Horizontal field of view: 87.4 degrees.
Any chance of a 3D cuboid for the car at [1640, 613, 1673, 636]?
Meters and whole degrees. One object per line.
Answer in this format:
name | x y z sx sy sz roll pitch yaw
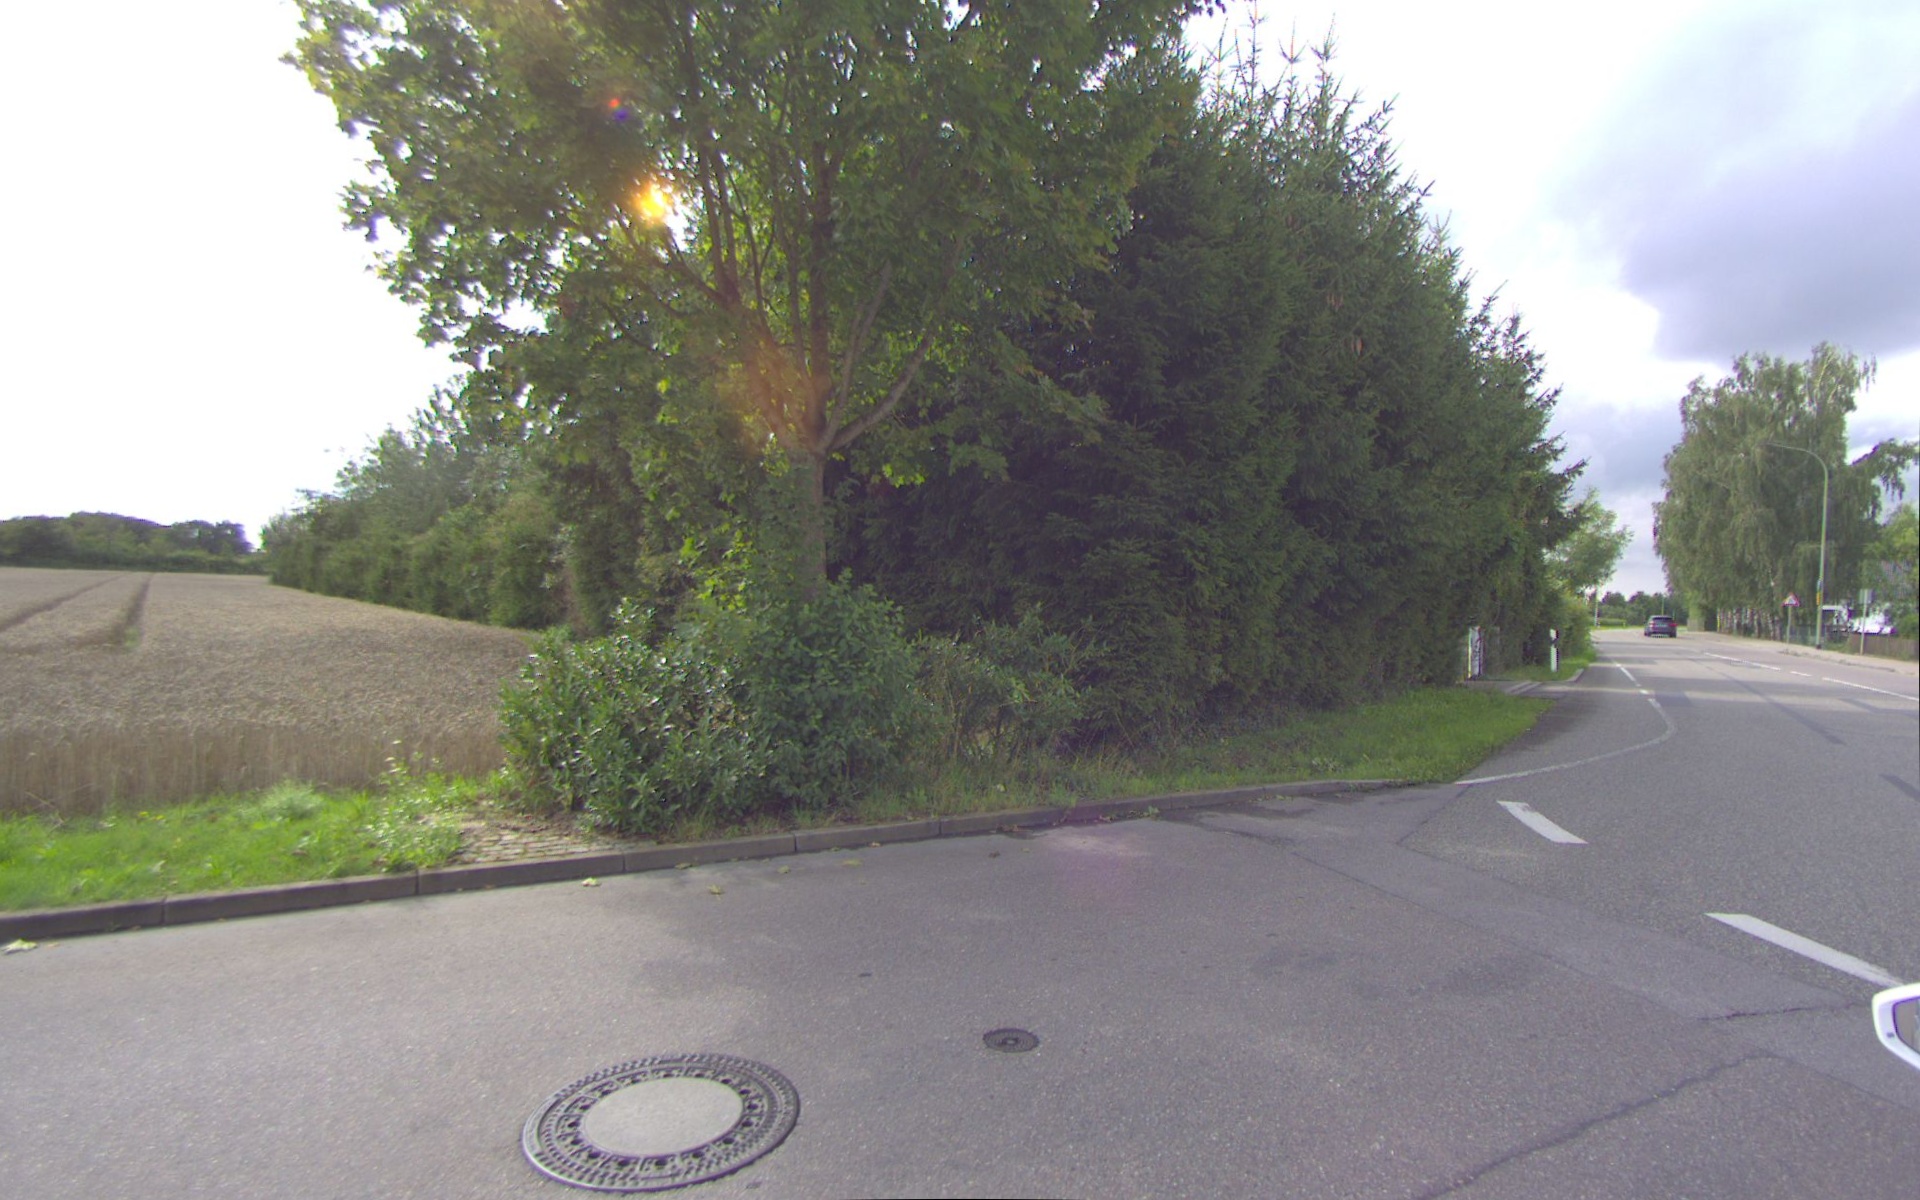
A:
car | 52.259 1.802 75.347 1.967 1.573 3.987 3 1 35
